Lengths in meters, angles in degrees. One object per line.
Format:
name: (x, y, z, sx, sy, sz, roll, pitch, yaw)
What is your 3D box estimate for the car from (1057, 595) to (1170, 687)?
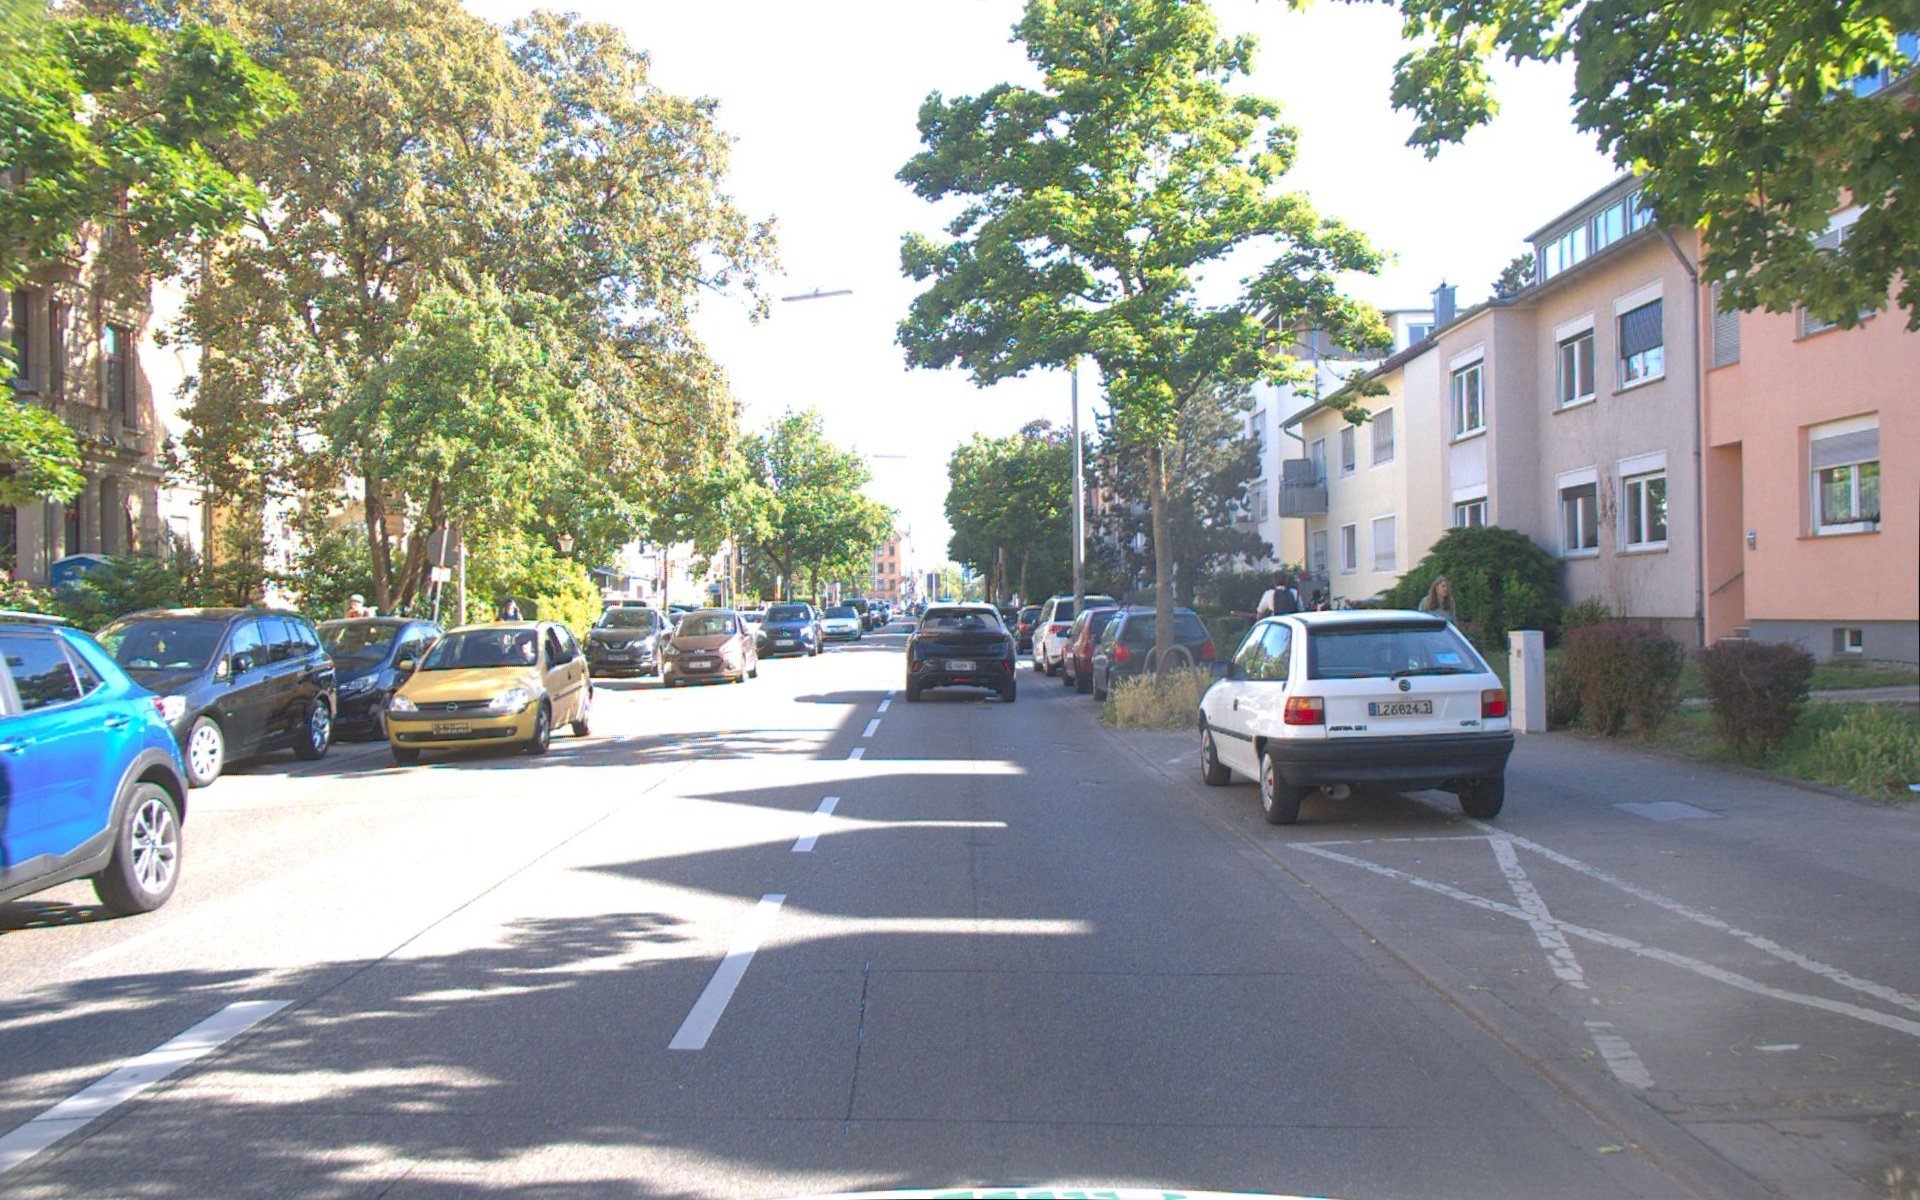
car: (2.668, 0.682, 29.396, 1.501, 1.475, 3.716, -2, 0, -2)

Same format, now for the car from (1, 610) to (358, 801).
car: (-7.636, 0.939, 16.688, 1.636, 1.633, 4.392, 0, 0, -2)

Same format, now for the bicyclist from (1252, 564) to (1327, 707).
bicyclist: (4.379, 0.457, 22.025, 0.709, 1.824, 1.015, -2, 0, -1)

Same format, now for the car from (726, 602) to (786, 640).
car: (-7.868, 0.793, 64.206, 1.796, 1.413, 4.801, 0, 0, -1)

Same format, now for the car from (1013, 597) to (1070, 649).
car: (2.520, 0.685, 51.736, 1.587, 1.525, 3.649, -2, 0, 1)

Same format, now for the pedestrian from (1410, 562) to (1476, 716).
pedestrian: (5.474, 0.438, 18.767, 0.527, 1.706, 0.493, -2, 0, -1)

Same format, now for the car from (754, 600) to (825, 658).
car: (-5.333, 0.880, 52.133, 1.799, 1.642, 4.399, -4, 0, -1)

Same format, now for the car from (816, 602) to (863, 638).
car: (-5.163, 0.840, 71.442, 1.698, 1.437, 4.191, -4, 0, -1)

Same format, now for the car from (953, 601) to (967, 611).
car: (-0.014, 0.955, 254.002, 1.952, 1.546, 4.000, 1, 0, 1)

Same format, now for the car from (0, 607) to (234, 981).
car: (-4.839, 0.867, 7.071, 1.622, 1.543, 4.075, -4, 0, -1)

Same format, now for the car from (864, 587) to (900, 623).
car: (-4.670, 0.289, 99.240, 1.976, 1.986, 5.176, -3, 0, -2)

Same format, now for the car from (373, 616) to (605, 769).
car: (-5.196, 0.959, 18.719, 1.602, 1.428, 3.734, -3, 0, -2)

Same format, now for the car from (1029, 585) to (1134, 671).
car: (2.579, 0.575, 36.042, 1.733, 1.688, 4.339, -2, 0, -2)

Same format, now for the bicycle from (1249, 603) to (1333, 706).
bicycle: (4.385, 0.698, 22.008, 0.684, 1.268, 1.821, -2, 0, -1)

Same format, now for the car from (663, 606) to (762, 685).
car: (-5.143, 0.913, 34.719, 1.549, 1.477, 3.744, -3, 0, -2)

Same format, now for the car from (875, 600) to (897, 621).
car: (-6.439, 0.877, 144.574, 1.770, 1.676, 4.671, -4, 0, -2)

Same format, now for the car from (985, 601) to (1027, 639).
car: (1.854, 0.795, 67.815, 1.554, 1.420, 4.453, -3, 0, 0)

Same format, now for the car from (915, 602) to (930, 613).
car: (-5.003, 1.004, 222.164, 1.735, 1.478, 3.887, -1, 0, 2)

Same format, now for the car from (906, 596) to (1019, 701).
car: (0.016, 0.739, 27.018, 1.710, 1.601, 3.557, 0, 0, -1)

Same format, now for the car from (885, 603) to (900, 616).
car: (-9.186, 1.267, 225.461, 1.754, 1.645, 4.000, -1, 0, 0)

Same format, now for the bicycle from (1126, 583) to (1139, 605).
bicycle: (10.753, -0.379, 103.031, 0.579, 1.309, 1.689, -4, 0, 0)

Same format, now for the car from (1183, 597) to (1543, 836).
car: (2.833, 0.737, 12.499, 1.616, 1.427, 3.969, -3, 0, -1)

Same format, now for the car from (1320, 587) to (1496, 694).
car: (6.612, 0.558, 24.783, 1.501, 1.379, 3.717, -4, 0, -1)

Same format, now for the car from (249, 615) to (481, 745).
car: (-7.701, 0.978, 21.788, 1.568, 1.503, 3.931, 0, 0, 1)

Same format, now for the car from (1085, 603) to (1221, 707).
car: (2.804, 0.762, 24.664, 1.500, 1.379, 3.717, -2, 0, -1)

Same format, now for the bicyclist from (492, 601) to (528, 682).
bicyclist: (-10.074, 0.914, 37.035, 0.596, 1.785, 0.691, -1, 0, -1)

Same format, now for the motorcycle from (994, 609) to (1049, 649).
motorcycle: (2.077, 0.989, 56.116, 0.689, 1.294, 2.409, -3, 0, -28)

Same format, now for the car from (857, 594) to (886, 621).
car: (-6.224, 0.507, 116.327, 1.779, 1.773, 4.492, -3, 0, -1)

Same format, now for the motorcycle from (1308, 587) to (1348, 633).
motorcycle: (11.546, 0.299, 51.938, 0.623, 1.399, 2.425, -2, 0, -1)

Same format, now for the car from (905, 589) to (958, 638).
car: (-0.976, 0.459, 58.903, 1.792, 1.606, 3.839, -2, 0, 0)

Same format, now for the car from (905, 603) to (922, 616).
car: (-5.456, 1.067, 193.885, 1.735, 1.478, 3.886, -1, 0, 1)

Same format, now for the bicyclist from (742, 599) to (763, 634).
bicyclist: (-11.463, 0.904, 91.414, 1.034, 1.856, 0.658, -2, 0, -16)

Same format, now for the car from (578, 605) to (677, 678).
car: (-7.918, 0.953, 39.765, 1.592, 1.616, 4.346, 0, 0, -1)
